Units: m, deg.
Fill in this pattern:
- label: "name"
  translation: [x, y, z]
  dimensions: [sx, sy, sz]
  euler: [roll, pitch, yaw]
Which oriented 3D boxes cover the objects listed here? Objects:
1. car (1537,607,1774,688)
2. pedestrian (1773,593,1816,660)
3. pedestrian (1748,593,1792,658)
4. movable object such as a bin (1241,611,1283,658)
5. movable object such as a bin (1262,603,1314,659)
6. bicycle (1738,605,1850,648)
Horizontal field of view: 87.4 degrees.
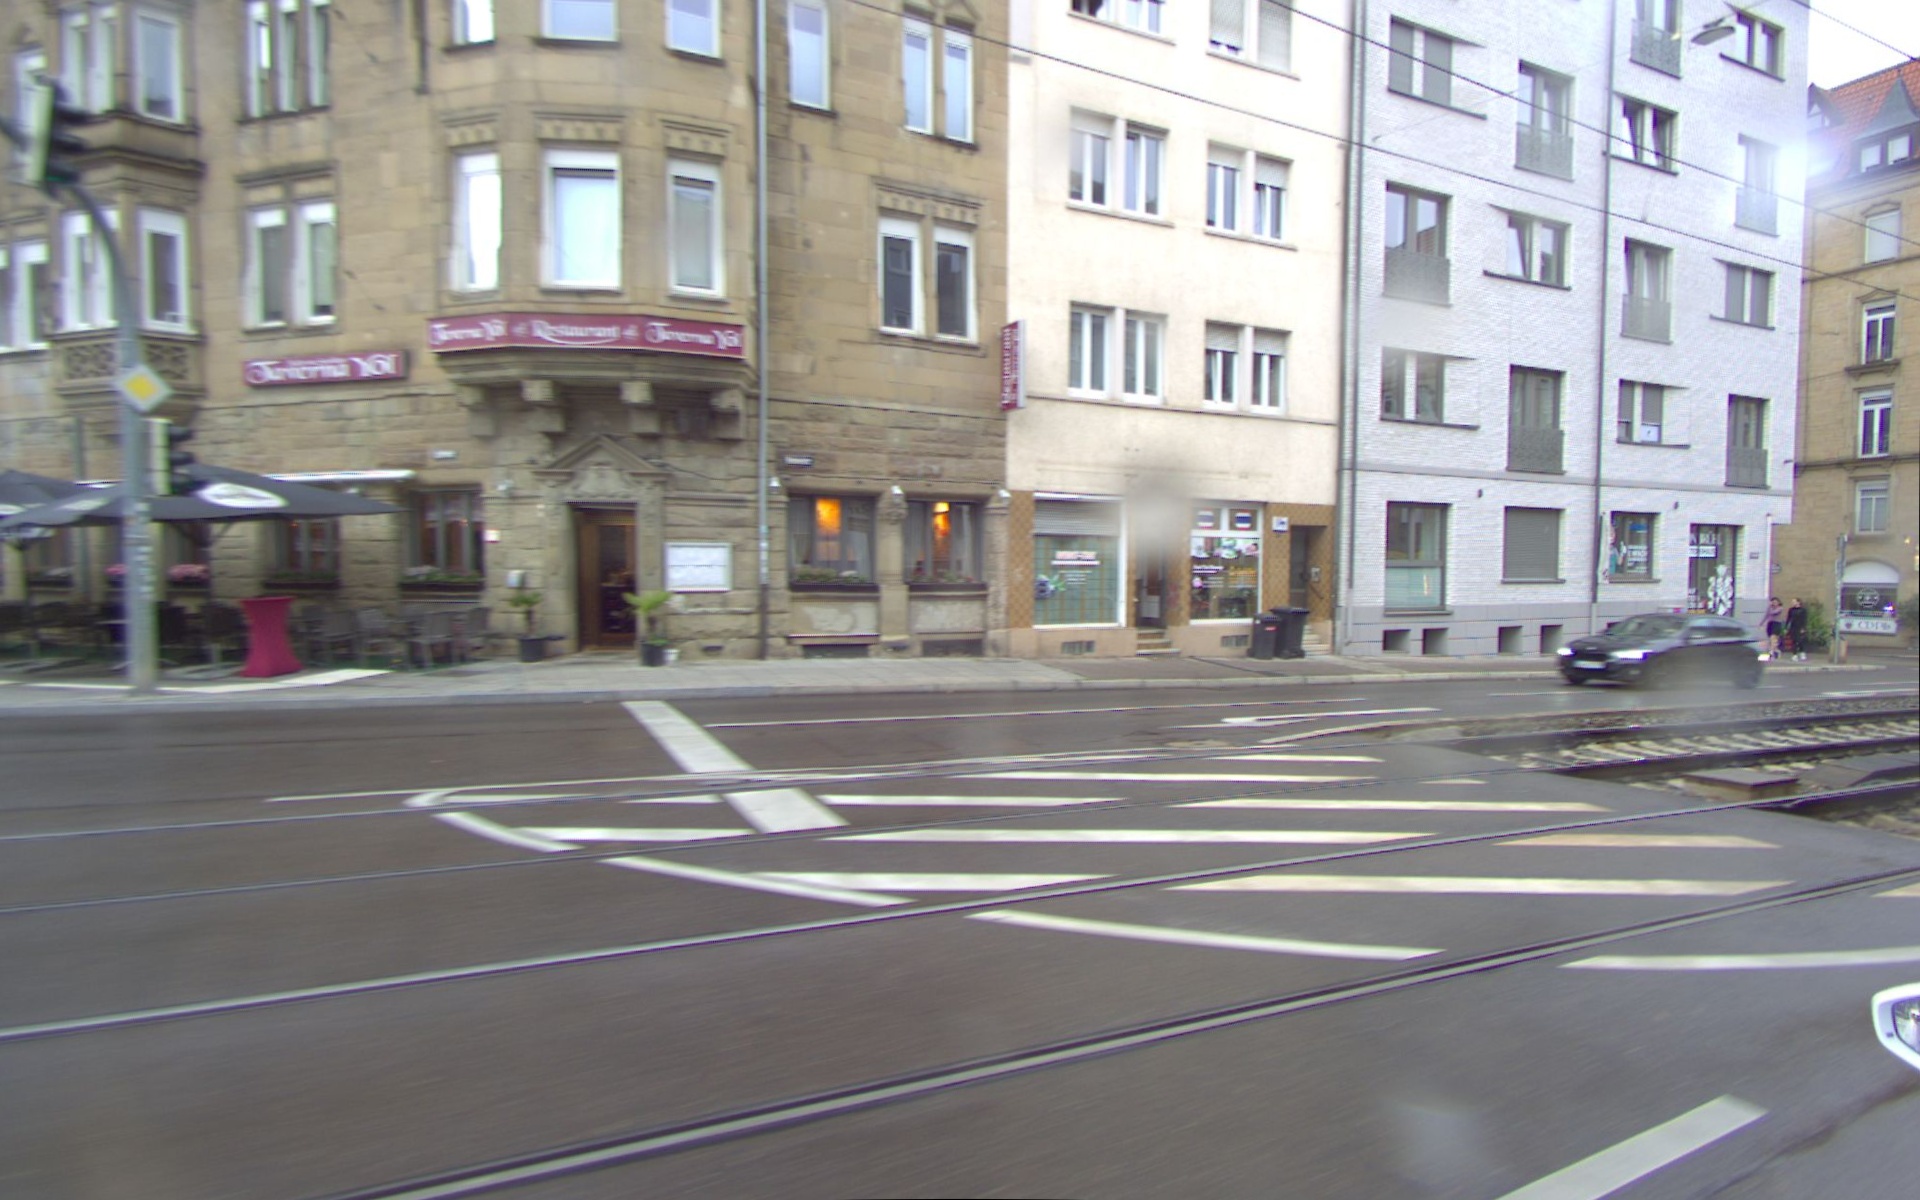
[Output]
- label: "car"
  translation: [13.420, 0.870, 19.373]
  dimensions: [4.216, 1.415, 1.942]
  euler: [1, -1, -25]
- label: "pedestrian"
  translation: [23.292, 0.739, 28.040]
  dimensions: [0.870, 1.810, 0.627]
  euler: [2, -1, -26]
- label: "pedestrian"
  translation: [23.144, 0.726, 28.705]
  dimensions: [0.911, 1.810, 0.638]
  euler: [2, -1, -26]
- label: "movable object such as a bin"
  translation: [6.278, 0.712, 20.894]
  dimensions: [0.552, 0.923, 0.591]
  euler: [1, 4, -26]
- label: "movable object such as a bin"
  translation: [6.884, 0.637, 21.097]
  dimensions: [0.678, 1.088, 0.710]
  euler: [1, 4, -26]
- label: "bicycle"
  translation: [32.987, 1.035, 39.777]
  dimensions: [1.583, 1.605, 3.124]
  euler: [1, 0, -36]
